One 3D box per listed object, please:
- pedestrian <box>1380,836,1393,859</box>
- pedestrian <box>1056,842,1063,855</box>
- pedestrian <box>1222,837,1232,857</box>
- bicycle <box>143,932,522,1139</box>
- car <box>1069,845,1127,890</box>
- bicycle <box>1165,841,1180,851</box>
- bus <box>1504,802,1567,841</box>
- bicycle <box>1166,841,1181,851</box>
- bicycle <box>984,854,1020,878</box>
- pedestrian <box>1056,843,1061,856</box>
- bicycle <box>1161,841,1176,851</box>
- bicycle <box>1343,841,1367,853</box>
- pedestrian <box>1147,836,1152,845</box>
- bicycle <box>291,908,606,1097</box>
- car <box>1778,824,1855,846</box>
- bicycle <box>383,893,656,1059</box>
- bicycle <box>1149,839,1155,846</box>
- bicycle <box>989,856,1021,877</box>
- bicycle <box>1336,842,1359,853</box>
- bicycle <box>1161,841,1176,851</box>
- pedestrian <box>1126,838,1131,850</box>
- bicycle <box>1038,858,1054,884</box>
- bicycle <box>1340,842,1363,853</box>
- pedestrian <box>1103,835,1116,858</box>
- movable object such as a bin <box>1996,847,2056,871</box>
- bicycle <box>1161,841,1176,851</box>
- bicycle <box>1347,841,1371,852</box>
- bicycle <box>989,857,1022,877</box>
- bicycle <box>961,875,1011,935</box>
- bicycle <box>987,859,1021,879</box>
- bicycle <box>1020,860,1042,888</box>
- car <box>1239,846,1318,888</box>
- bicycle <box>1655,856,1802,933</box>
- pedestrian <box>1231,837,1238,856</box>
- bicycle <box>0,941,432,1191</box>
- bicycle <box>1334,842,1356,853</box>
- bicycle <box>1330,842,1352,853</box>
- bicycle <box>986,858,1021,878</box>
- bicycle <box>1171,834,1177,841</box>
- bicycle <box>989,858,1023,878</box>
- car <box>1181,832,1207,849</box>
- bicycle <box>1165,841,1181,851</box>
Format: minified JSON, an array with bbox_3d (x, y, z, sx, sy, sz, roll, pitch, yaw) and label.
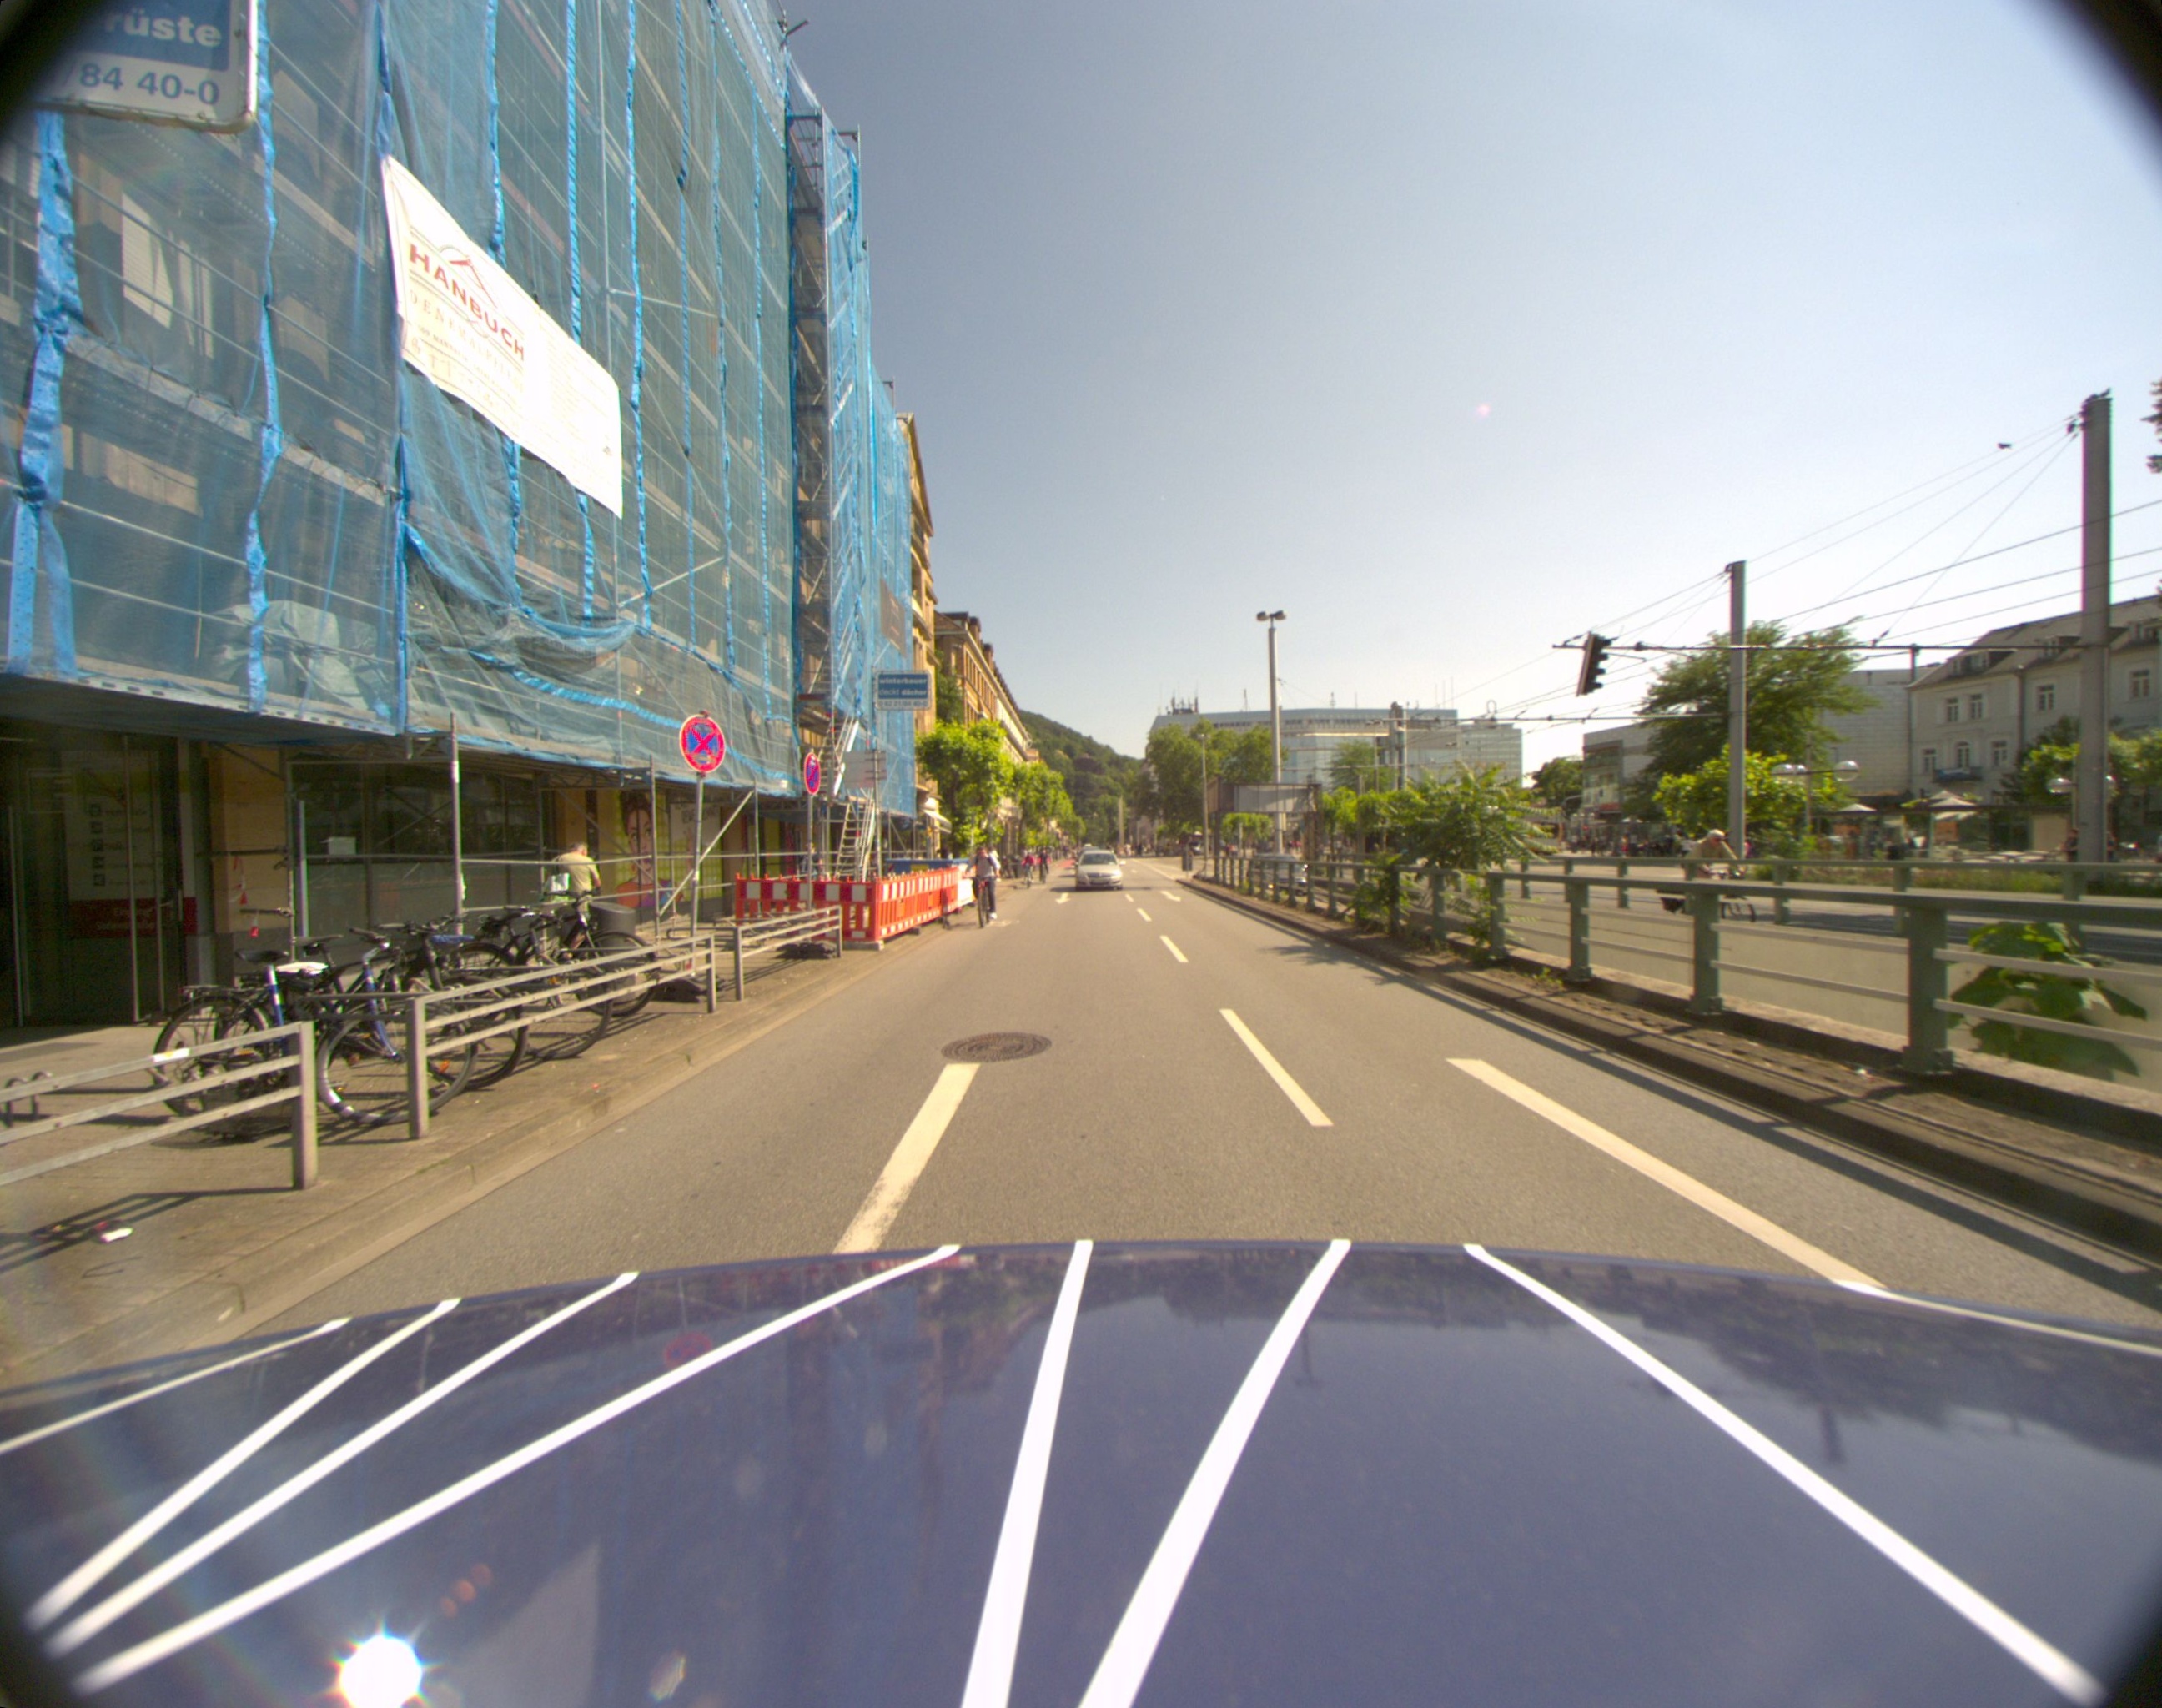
[{"bbox_3d":[21.845,-0.462,54.342,0.577,1.600,0.602,0,1,-28],"label":"pedestrian"},{"bbox_3d":[-2.865,-0.711,101.193,0.579,1.675,0.620,-5,2,-43],"label":"pedestrian"},{"bbox_3d":[12.730,-0.618,66.349,0.527,1.724,0.586,0,1,-29],"label":"pedestrian"},{"bbox_3d":[-4.539,1.082,4.683,1.697,1.091,0.608,-1,2,1],"label":"bicycle"},{"bbox_3d":[0.664,0.430,28.125,1.918,1.401,3.999,-3,1,2],"label":"car"},{"bbox_3d":[10.976,-0.940,91.459,1.757,1.141,0.482,-2,2,-1],"label":"bicycle"},{"bbox_3d":[45.167,-3.207,75.959,3.060,3.400,12.473,-3,1,20],"label":"bus"},{"bbox_3d":[11.048,-0.969,90.937,1.757,1.141,0.482,-2,2,-1],"label":"bicycle"},{"bbox_3d":[-4.027,0.626,38.986,1.757,1.174,0.579,-2,2,-1],"label":"bicycle"},{"bbox_3d":[-3.027,-0.614,102.184,0.578,1.675,0.775,-3,2,-2],"label":"pedestrian"},{"bbox_3d":[10.868,-1.020,93.984,1.757,1.141,0.482,-2,2,-1],"label":"bicycle"},{"bbox_3d":[23.805,-0.598,65.982,1.871,0.865,0.581,-4,2,-12],"label":"bicycle"},{"bbox_3d":[12.356,-2.409,137.656,0.732,1.661,0.640,-3,2,15],"label":"pedestrian"},{"bbox_3d":[-4.497,1.034,5.474,1.697,1.172,0.608,-3,2,2],"label":"bicycle"},{"bbox_3d":[56.215,-1.427,58.167,1.760,1.499,3.997,-4,1,-5],"label":"car"},{"bbox_3d":[-4.494,0.963,6.155,1.697,1.172,0.608,-3,2,2],"label":"bicycle"},{"bbox_3d":[12.787,-2.099,137.648,0.729,1.137,1.914,-3,1,15],"label":"bicycle"},{"bbox_3d":[-3.786,0.622,37.814,0.659,1.012,1.753,-3,2,-41],"label":"bicycle"},{"bbox_3d":[23.595,-0.590,67.184,1.871,0.851,0.546,-4,2,-12],"label":"bicycle"},{"bbox_3d":[11.003,-1.032,95.323,1.757,1.141,0.482,-2,2,-1],"label":"bicycle"},{"bbox_3d":[7.040,-1.476,113.523,0.575,1.704,0.651,-3,2,0],"label":"pedestrian"},{"bbox_3d":[-1.589,0.751,34.818,0.667,1.086,1.897,-3,1,-2],"label":"bicycle"},{"bbox_3d":[23.717,-0.585,66.620,1.871,0.851,0.546,-4,2,-12],"label":"bicycle"},{"bbox_3d":[2.470,-0.648,65.887,0.896,1.996,0.678,-2,2,-43],"label":"pedestrian"},{"bbox_3d":[30.301,0.157,24.368,0.909,0.750,0.800,1,1,1],"label":"movable object such as a bin"},{"bbox_3d":[11.052,-1.022,95.972,1.757,1.141,0.482,-2,2,-1],"label":"bicycle"},{"bbox_3d":[23.432,-0.620,63.995,1.871,0.865,0.581,-4,2,-12],"label":"bicycle"},{"bbox_3d":[-4.128,0.704,41.520,1.757,1.012,0.482,-2,2,-1],"label":"bicycle"},{"bbox_3d":[-1.979,1.048,16.128,0.736,1.086,1.897,-3,1,1],"label":"bicycle"},{"bbox_3d":[-4.069,0.780,40.323,1.757,1.012,0.587,-1,2,-1],"label":"bicycle"},{"bbox_3d":[-2.049,0.812,31.435,0.736,1.086,1.819,-3,1,0],"label":"bicycle"},{"bbox_3d":[7.302,0.428,28.511,1.699,1.397,3.998,2,1,-3],"label":"car"},{"bbox_3d":[10.671,0.627,12.630,0.819,1.114,1.874,1,2,1],"label":"bicycle"},{"bbox_3d":[13.402,-0.643,66.304,0.525,1.600,0.627,1,1,10],"label":"pedestrian"},{"bbox_3d":[-4.574,1.081,4.023,1.697,1.091,0.608,-3,2,2],"label":"bicycle"},{"bbox_3d":[23.547,-0.584,67.759,1.871,0.851,0.546,-4,2,-12],"label":"bicycle"},{"bbox_3d":[23.406,-0.564,68.383,1.871,0.867,0.582,-4,2,-12],"label":"bicycle"},{"bbox_3d":[-4.044,0.727,39.635,1.757,1.012,0.557,-2,2,-1],"label":"bicycle"},{"bbox_3d":[16.992,-3.004,138.433,0.592,1.141,1.757,-2,1,-7],"label":"bicycle"},{"bbox_3d":[-4.055,0.768,40.937,1.757,1.012,0.482,-2,2,-1],"label":"bicycle"},{"bbox_3d":[14.408,-1.729,96.372,1.995,2.002,5.073,-3,1,22],"label":"car"},{"bbox_3d":[11.196,-0.984,92.427,1.865,1.141,0.482,-2,2,-1],"label":"bicycle"}]
